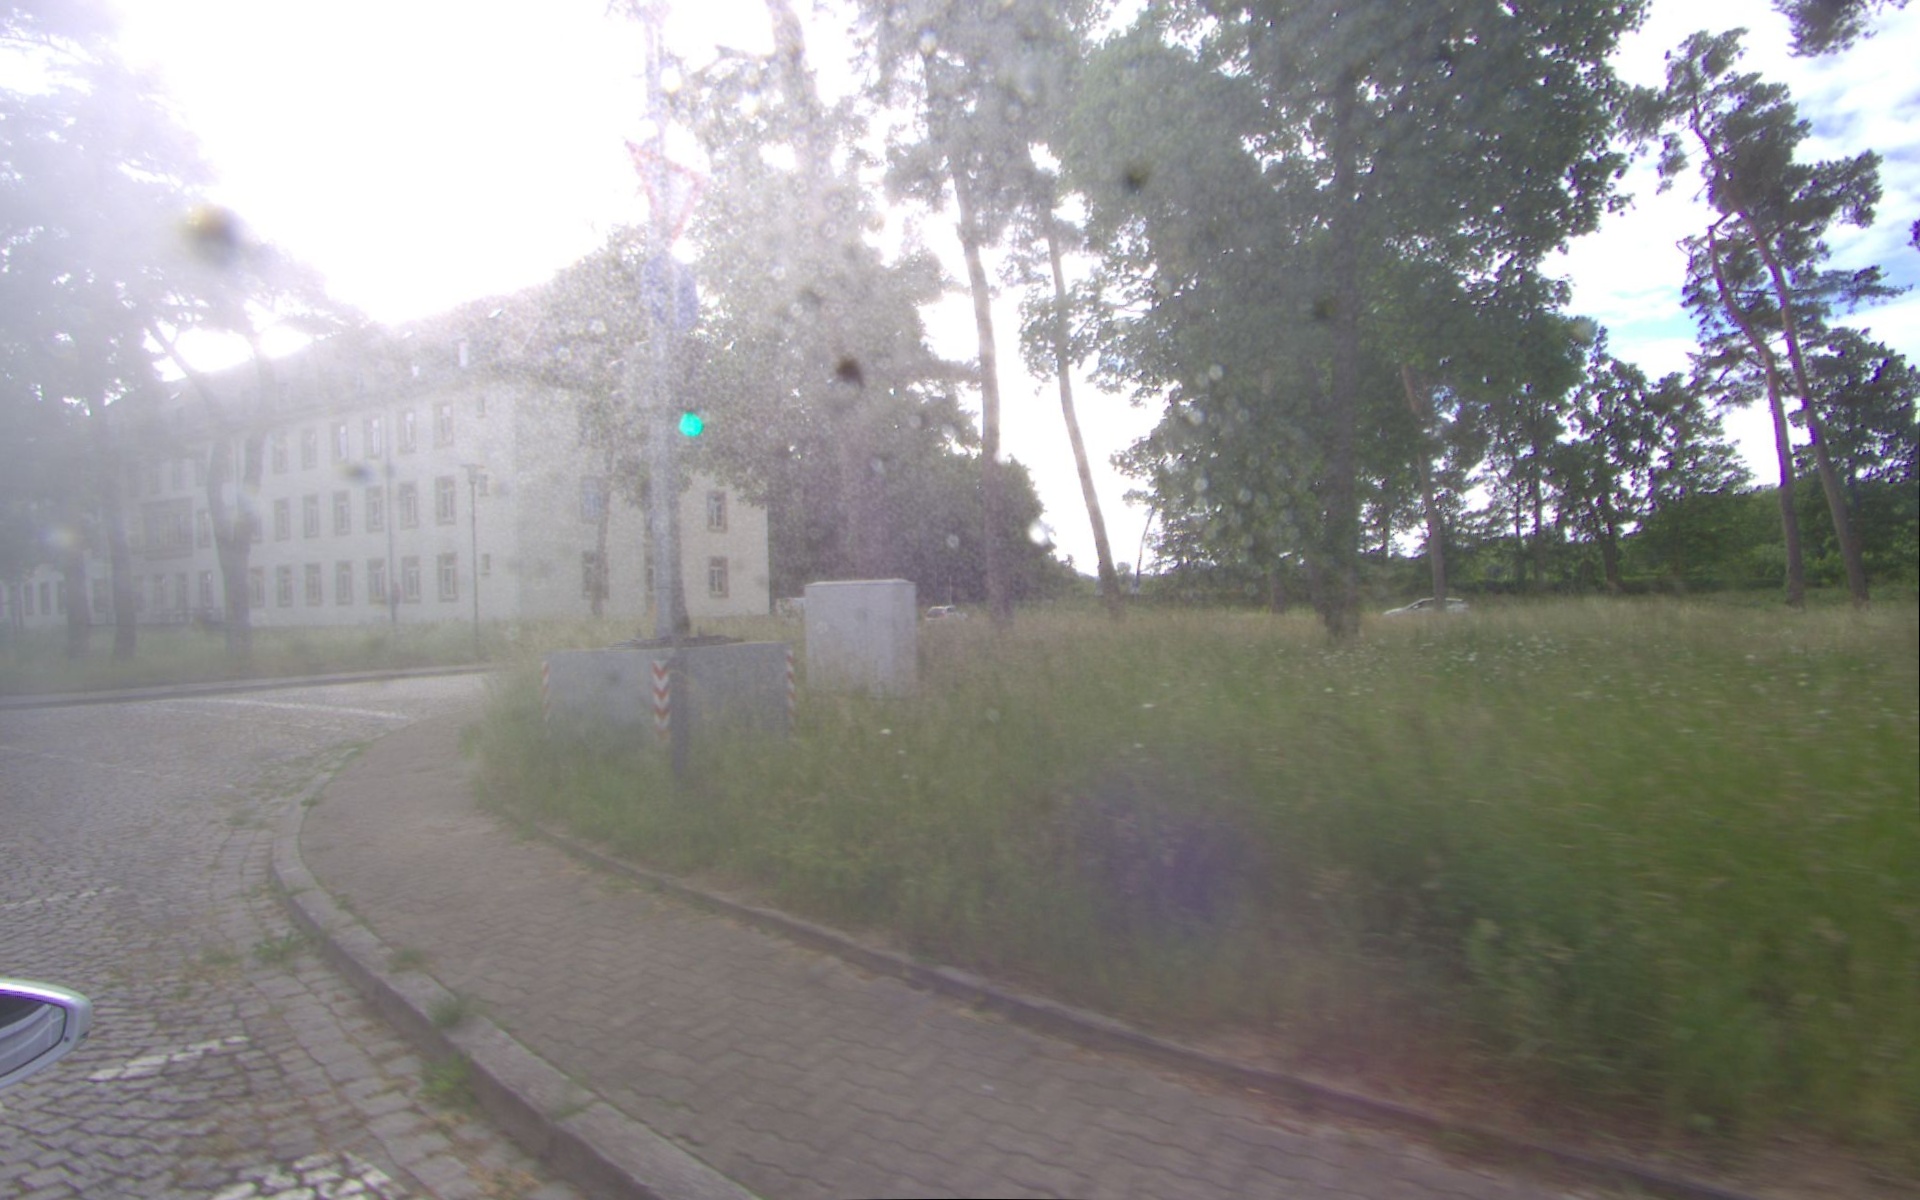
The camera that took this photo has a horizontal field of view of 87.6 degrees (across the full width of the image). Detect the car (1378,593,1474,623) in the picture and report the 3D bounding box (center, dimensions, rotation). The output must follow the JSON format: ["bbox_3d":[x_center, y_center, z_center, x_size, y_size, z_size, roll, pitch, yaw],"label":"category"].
[{"bbox_3d":[23.558,0.391,50.823,4.181,1.435,1.885,-1,0,17],"label":"car"}]

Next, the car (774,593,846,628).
[{"bbox_3d":[-10.507,0.721,70.555,2.181,2.318,5.170,-1,0,32],"label":"car"}]

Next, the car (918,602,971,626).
[{"bbox_3d":[-0.991,0.911,65.768,1.971,1.527,3.475,-1,0,31],"label":"car"}]
